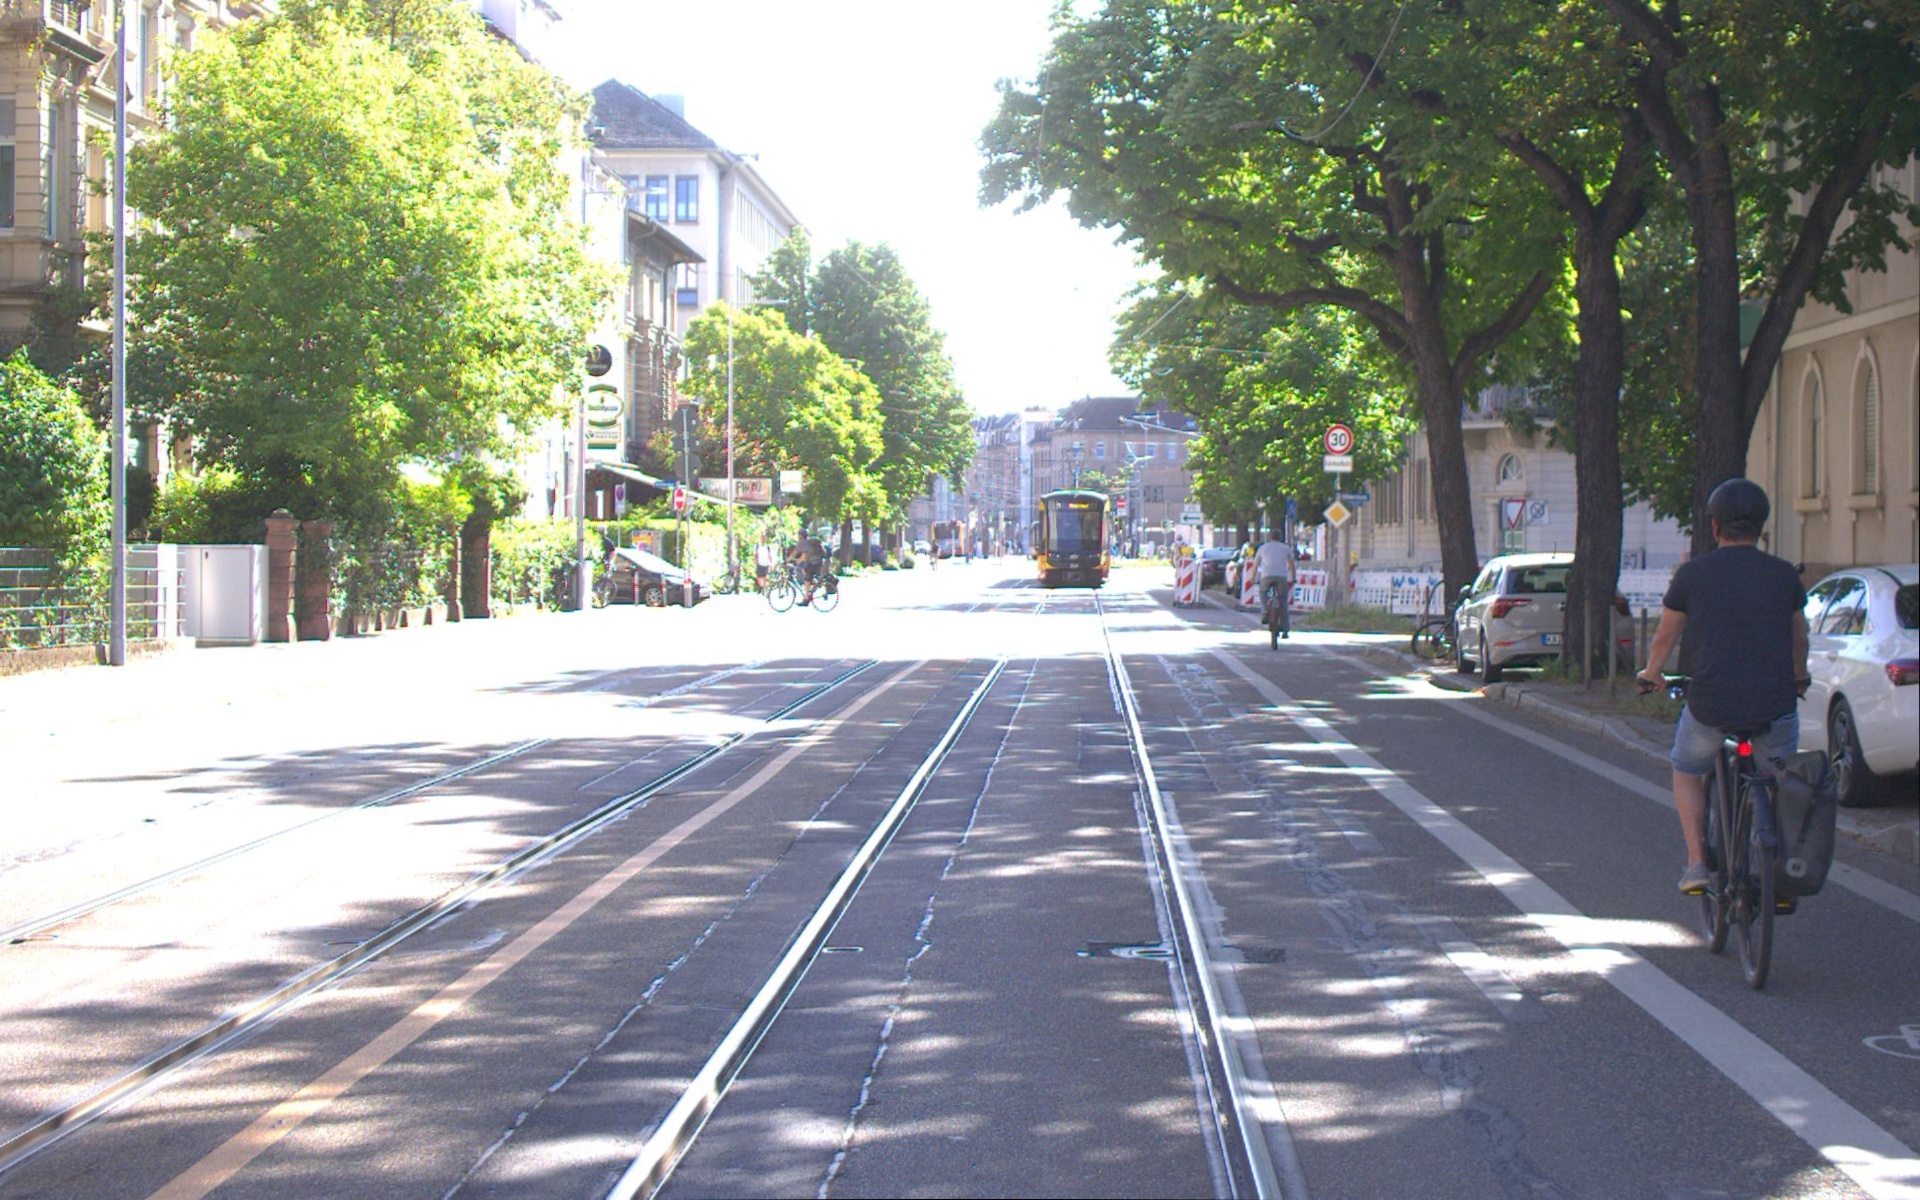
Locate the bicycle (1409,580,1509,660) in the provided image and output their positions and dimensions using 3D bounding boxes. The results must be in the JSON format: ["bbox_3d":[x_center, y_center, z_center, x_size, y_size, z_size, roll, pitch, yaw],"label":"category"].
[{"bbox_3d":[6.680,0.265,46.007,1.270,1.020,0.704,2,0,10],"label":"bicycle"}]

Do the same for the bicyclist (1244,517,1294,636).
[{"bbox_3d":[4.738,-0.374,52.744,0.645,1.789,0.956,2,1,2],"label":"bicyclist"}]

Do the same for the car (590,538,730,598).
[{"bbox_3d":[-7.396,-0.765,84.515,1.754,1.415,3.579,1,0,-38],"label":"car"}]

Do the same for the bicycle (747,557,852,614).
[{"bbox_3d":[-3.530,-0.329,75.652,2.141,1.167,0.802,2,1,17],"label":"bicycle"}]

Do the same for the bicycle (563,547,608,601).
[{"bbox_3d":[-7.826,-0.545,71.771,0.632,1.065,1.832,1,1,-15],"label":"bicycle"}]

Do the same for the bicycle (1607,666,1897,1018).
[{"bbox_3d":[2.869,0.844,12.615,0.692,1.108,1.718,2,1,2],"label":"bicycle"}]

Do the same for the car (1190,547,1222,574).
[{"bbox_3d":[15.811,-2.555,221.138,1.872,1.657,3.515,2,1,2],"label":"car"}]

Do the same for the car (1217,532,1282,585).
[{"bbox_3d":[8.986,-1.303,106.947,1.754,1.546,3.677,2,1,2],"label":"car"}]

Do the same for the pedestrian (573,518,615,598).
[{"bbox_3d":[-7.975,-0.923,74.895,0.770,1.706,0.669,2,1,2],"label":"pedestrian"}]

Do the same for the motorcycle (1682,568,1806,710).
[{"bbox_3d":[7.248,0.338,31.863,0.710,1.239,2.185,0,1,2],"label":"motorcycle"}]

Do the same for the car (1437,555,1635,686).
[{"bbox_3d":[6.726,0.203,40.475,1.749,1.415,4.000,-1,1,2],"label":"car"}]

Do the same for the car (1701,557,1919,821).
[{"bbox_3d":[6.059,0.476,21.816,1.628,1.431,4.665,0,1,-1],"label":"car"}]

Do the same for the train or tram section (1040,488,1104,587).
[{"bbox_3d":[4.030,-2.272,123.895,2.153,3.420,6.611,2,1,2],"label":"train or tram section"}]

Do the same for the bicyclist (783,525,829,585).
[{"bbox_3d":[-3.388,-0.983,75.591,0.773,1.287,0.732,2,1,18],"label":"bicyclist"}]

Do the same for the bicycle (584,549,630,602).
[{"bbox_3d":[-7.473,-0.519,72.774,0.632,1.065,1.832,1,1,-16],"label":"bicycle"}]

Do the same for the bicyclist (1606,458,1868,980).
[{"bbox_3d":[2.849,0.415,12.681,0.727,1.842,0.837,2,1,1],"label":"bicyclist"}]

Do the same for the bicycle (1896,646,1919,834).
[{"bbox_3d":[6.175,0.753,19.030,1.792,1.016,0.620,-2,1,2],"label":"bicycle"}]

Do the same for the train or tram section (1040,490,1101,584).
[{"bbox_3d":[4.211,-2.418,130.528,2.153,3.420,6.611,2,1,2],"label":"train or tram section"}]

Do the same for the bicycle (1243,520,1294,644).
[{"bbox_3d":[4.769,-0.296,53.302,0.663,1.853,2.259,2,1,3],"label":"bicycle"}]

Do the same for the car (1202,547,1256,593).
[{"bbox_3d":[9.642,-1.093,123.461,1.754,1.546,3.677,1,1,2],"label":"car"}]
